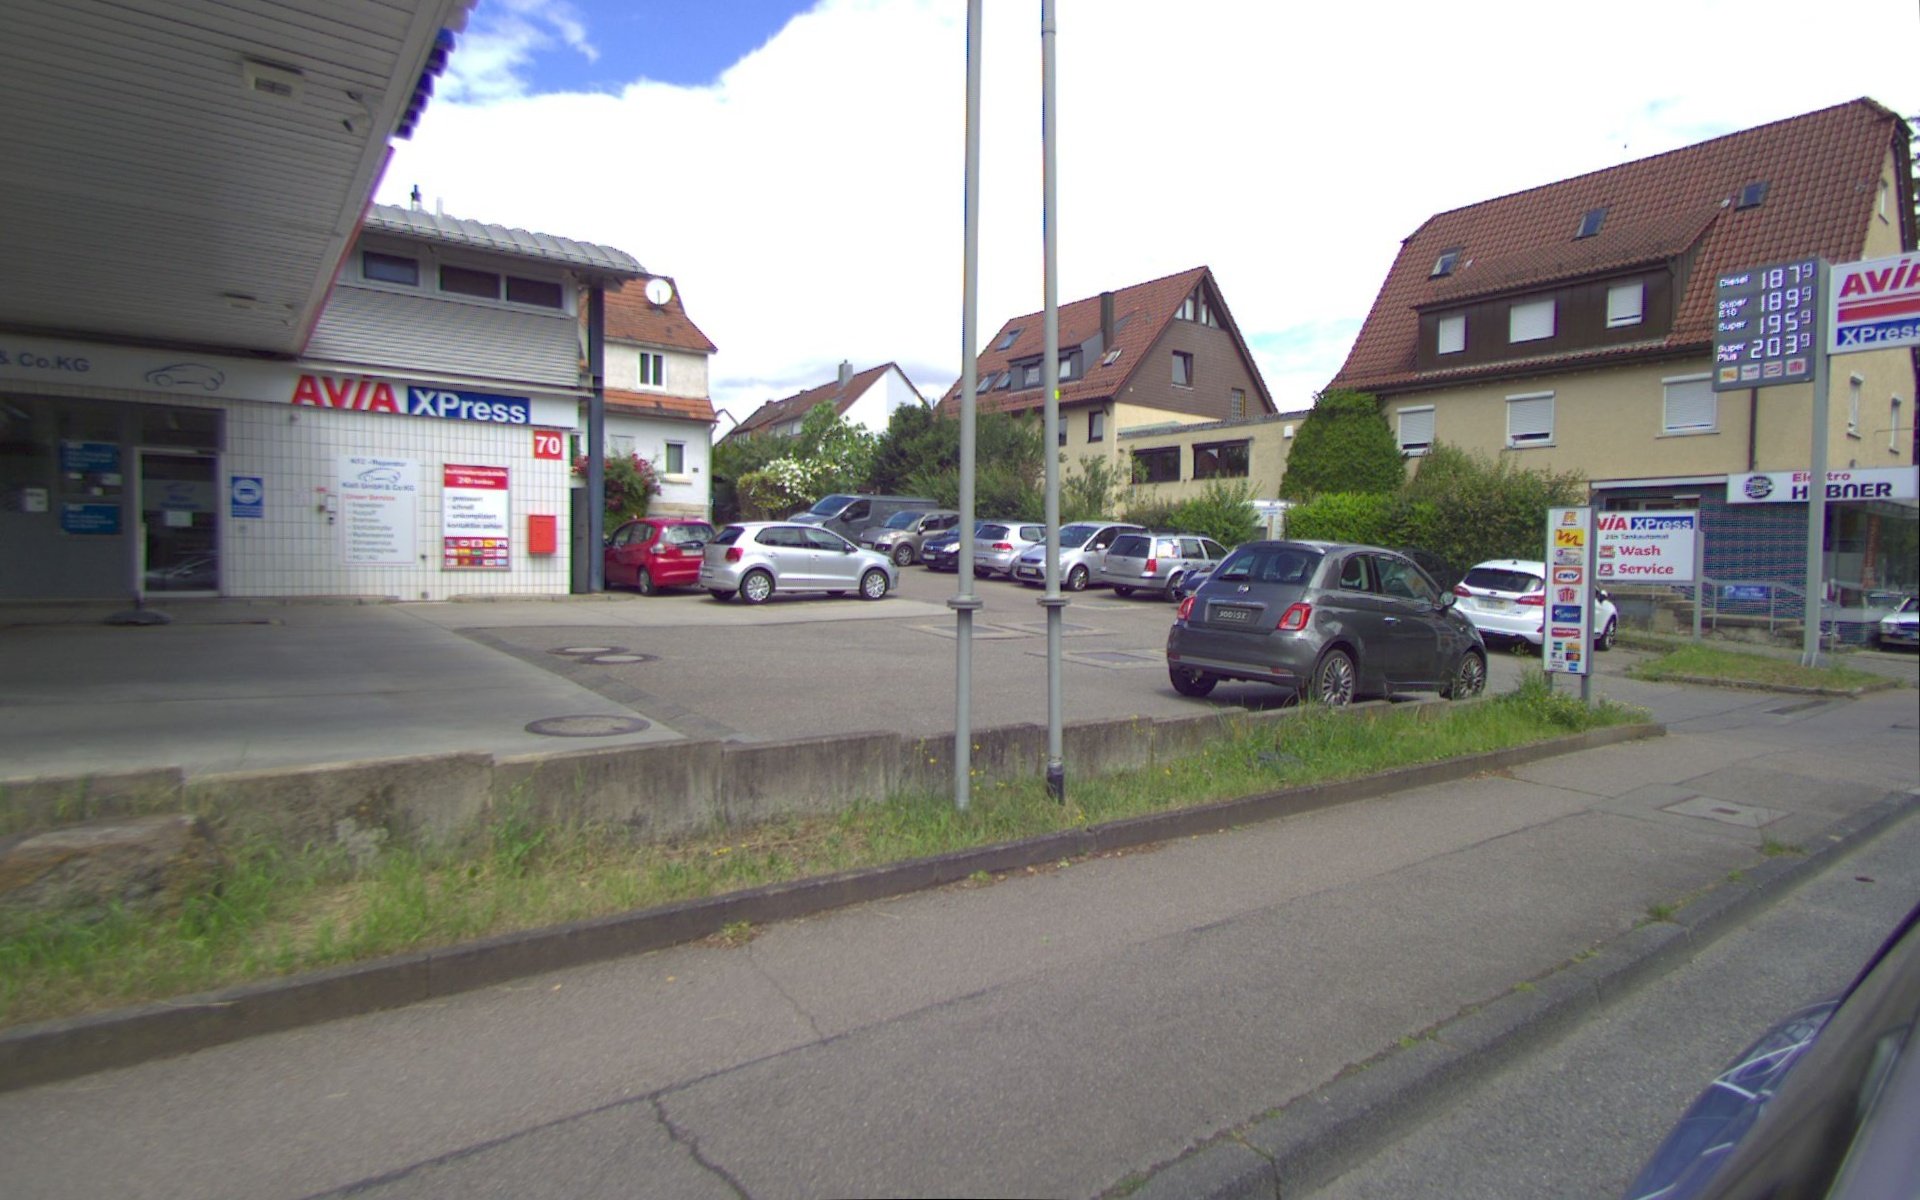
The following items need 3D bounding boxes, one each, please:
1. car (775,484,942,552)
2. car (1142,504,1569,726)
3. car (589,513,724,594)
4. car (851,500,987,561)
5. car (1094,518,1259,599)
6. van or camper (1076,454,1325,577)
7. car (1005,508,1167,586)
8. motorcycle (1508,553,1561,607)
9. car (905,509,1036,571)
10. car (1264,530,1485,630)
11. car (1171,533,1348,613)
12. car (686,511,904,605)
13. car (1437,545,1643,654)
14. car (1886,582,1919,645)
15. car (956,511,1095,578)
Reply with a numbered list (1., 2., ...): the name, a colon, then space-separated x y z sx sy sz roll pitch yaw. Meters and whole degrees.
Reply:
1. car: -3.157 -2.559 32.112 5.047 1.940 1.924 -2 7 -40
2. car: 3.835 0.048 9.603 4.080 1.613 1.623 0 8 -34
3. car: -6.303 -1.036 20.802 1.590 1.477 3.758 -4 6 -34
4. car: -1.199 -2.067 30.414 3.883 1.650 1.571 -2 7 -40
5. car: 4.928 -0.955 22.835 3.681 1.603 1.642 -2 7 -40
6. van or camper: 6.203 -2.325 26.899 2.487 2.883 5.977 0 6 -40
7. car: 3.116 -1.287 24.682 3.977 1.702 1.571 -2 7 -40
8. motorcycle: 15.576 -0.557 27.419 1.872 1.325 0.403 -4 10 -36
9. car: 0.334 -1.688 28.485 3.437 1.587 1.572 -2 7 -40
10. car: 7.761 -0.429 18.760 4.573 1.560 1.717 -2 7 -39
11. car: 6.132 -0.581 20.576 3.681 1.388 1.641 -2 7 -40
12. car: -3.040 -0.866 18.900 3.678 1.518 1.637 -4 8 -36
13. car: 9.913 -0.089 17.185 4.130 1.546 1.639 -2 7 -40
14. car: 23.068 0.303 23.469 4.403 1.332 1.789 -1 4 -41
15. car: 1.738 -1.445 26.385 3.437 1.587 1.572 -2 7 -40
